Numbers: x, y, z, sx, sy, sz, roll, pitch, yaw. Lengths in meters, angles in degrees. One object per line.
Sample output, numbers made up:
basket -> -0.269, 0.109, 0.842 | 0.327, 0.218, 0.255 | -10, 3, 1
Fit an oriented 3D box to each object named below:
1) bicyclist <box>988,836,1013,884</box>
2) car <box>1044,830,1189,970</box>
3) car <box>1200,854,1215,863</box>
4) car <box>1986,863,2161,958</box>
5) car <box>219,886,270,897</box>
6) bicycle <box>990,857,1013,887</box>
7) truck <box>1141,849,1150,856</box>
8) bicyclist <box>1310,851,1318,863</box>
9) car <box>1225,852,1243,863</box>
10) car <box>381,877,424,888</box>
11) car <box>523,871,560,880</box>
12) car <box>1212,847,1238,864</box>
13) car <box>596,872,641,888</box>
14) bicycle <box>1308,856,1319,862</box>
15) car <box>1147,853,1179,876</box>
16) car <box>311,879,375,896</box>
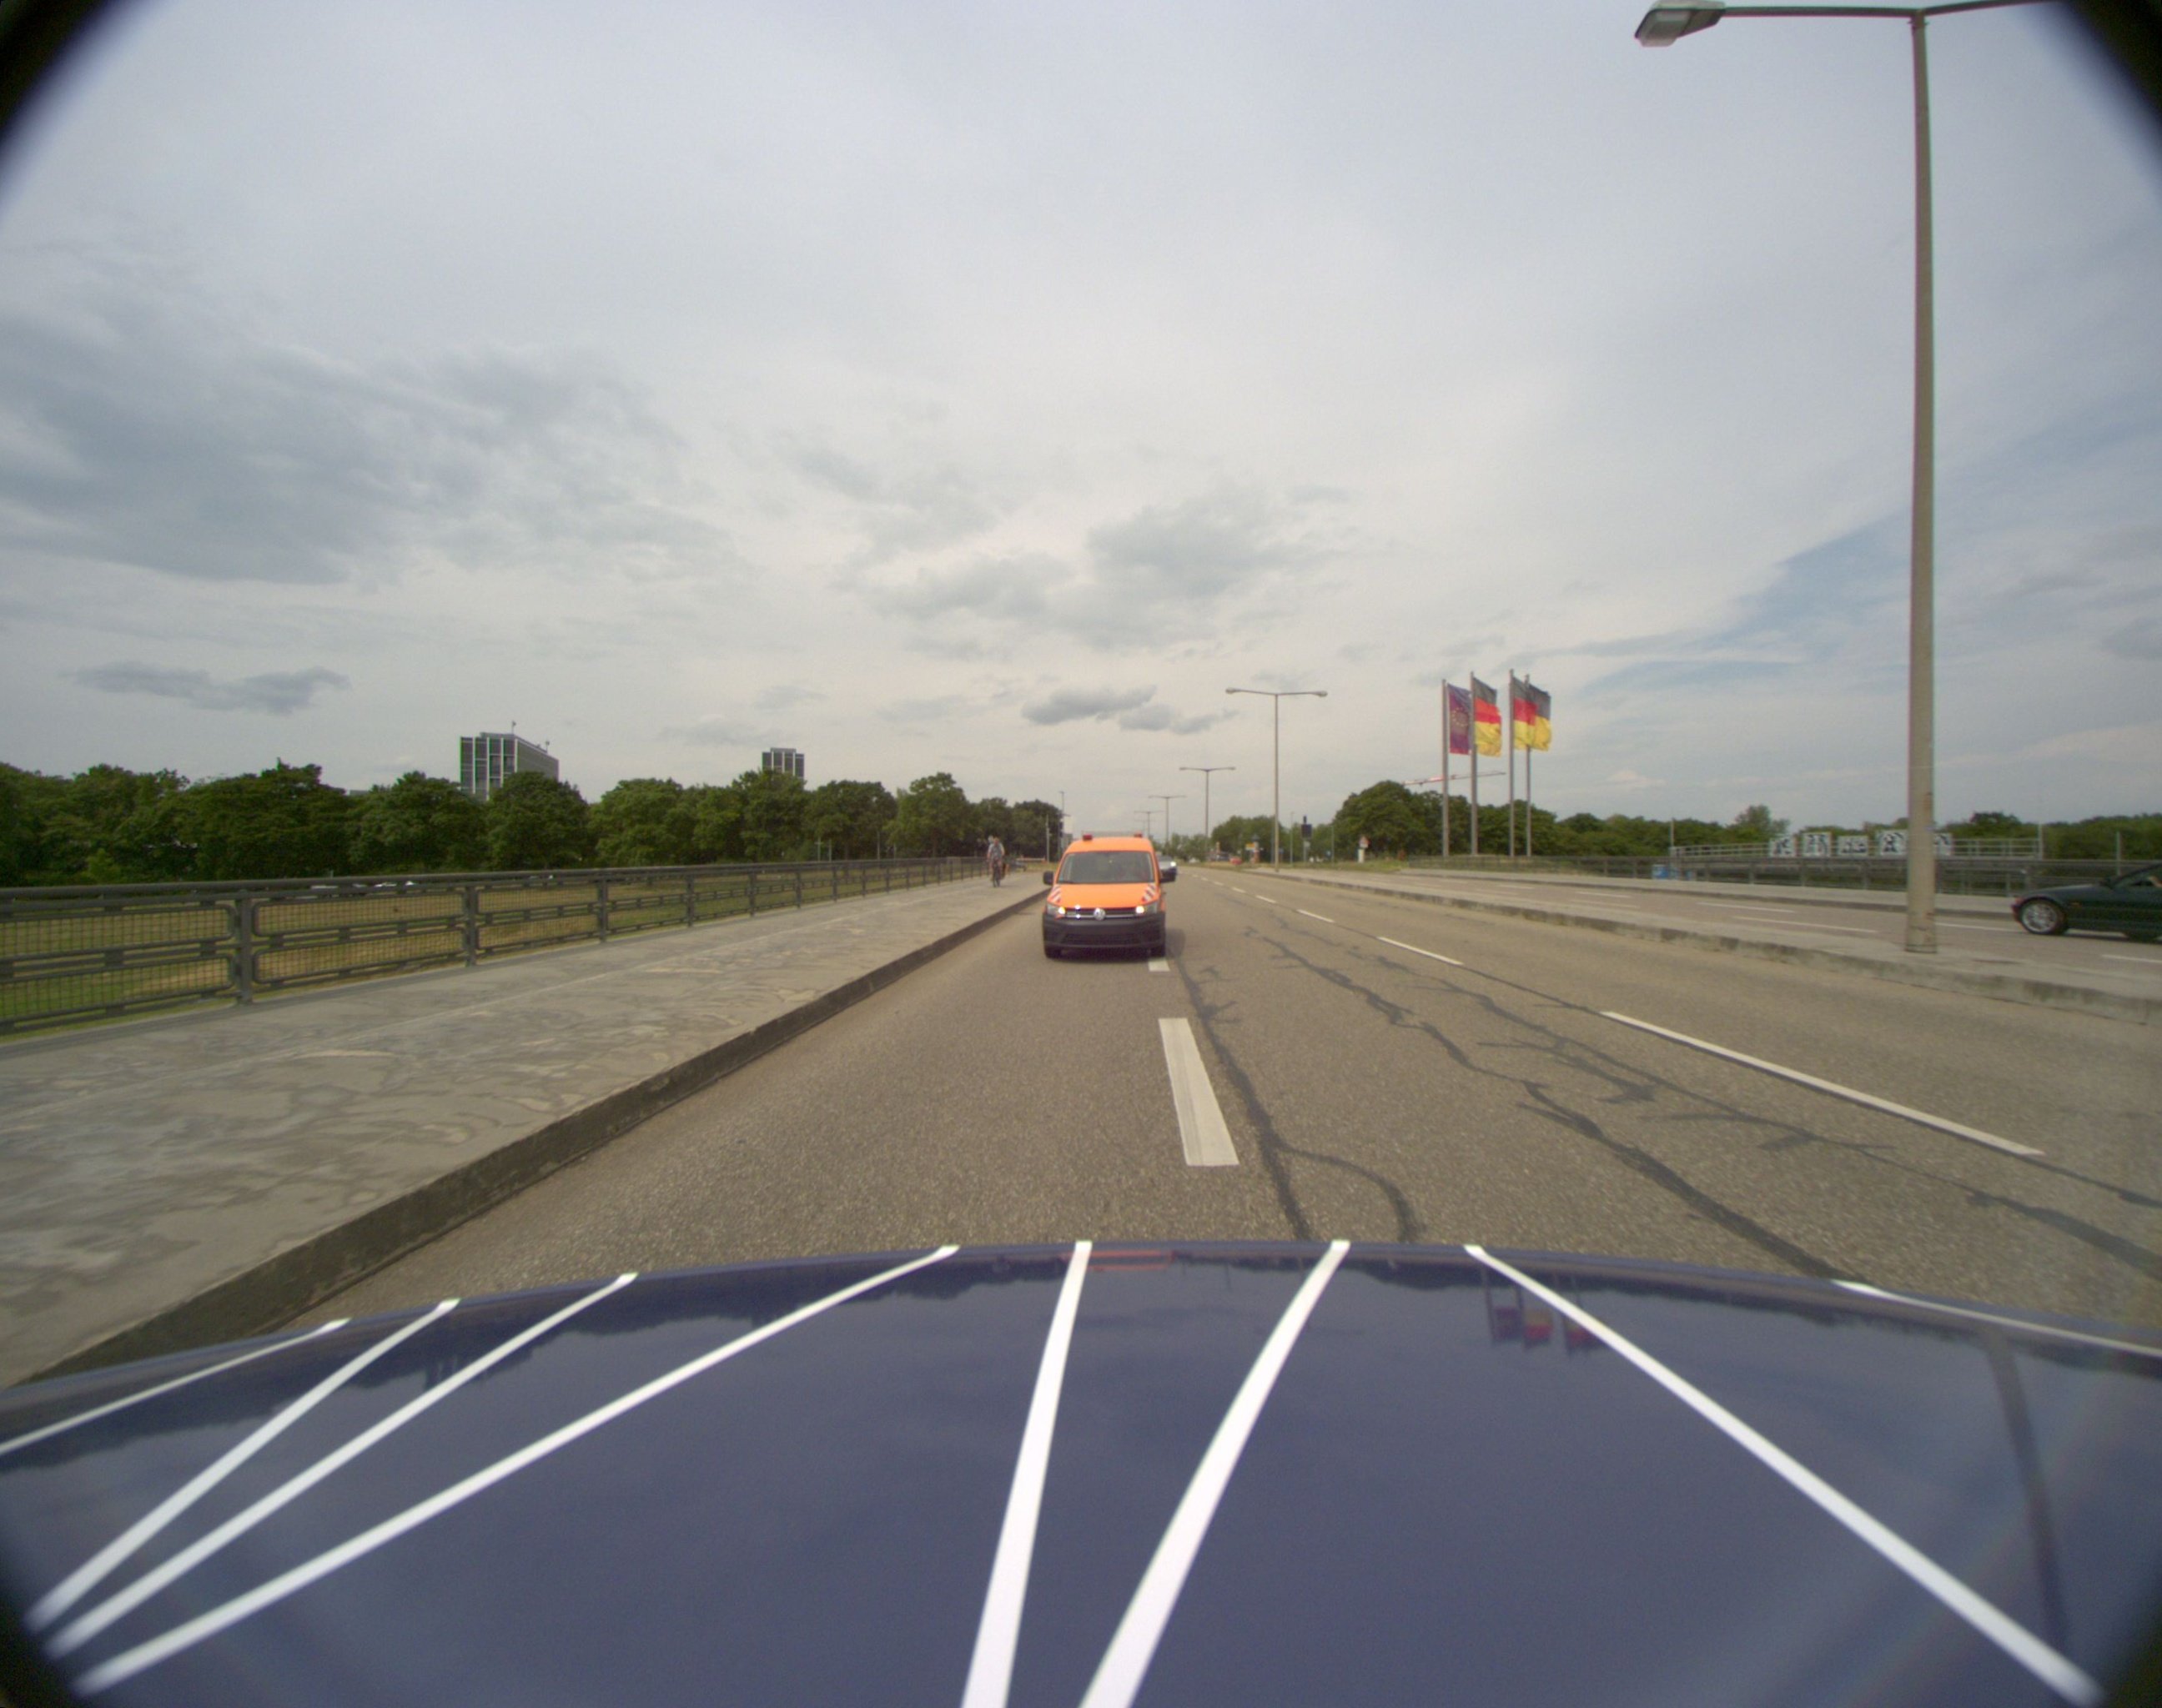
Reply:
bicyclist -> -3.108, 0.221, 29.361 | 0.873, 1.791, 0.956 | 1, 1, -4
car -> 0.533, 0.630, 12.360 | 1.892, 1.824, 4.431 | -1, 0, 2
car -> 20.385, 0.763, 122.644 | 1.695, 1.485, 4.000 | 1, 0, 1
car -> 17.302, 0.896, 11.504 | 1.997, 1.366, 4.578 | 1, 1, 7
car -> -98.942, 4.433, 89.897 | 3.687, 1.124, 1.676 | -1, 0, -22
bicycle -> -3.066, 0.688, 29.495 | 0.815, 1.134, 1.763 | -1, 0, -4
truck -> 16.932, -0.389, 200.420 | 1.998, 2.002, 4.001 | -1, 0, 1
bicyclist -> 30.459, 0.345, 99.365 | 0.820, 1.583, 0.737 | -1, 0, 3
car -> 21.025, 0.449, 104.556 | 1.695, 1.485, 4.000 | 1, 0, 1
car -> -85.606, 3.561, 95.957 | 3.687, 1.265, 1.676 | -1, 0, -22
car -> -71.870, 2.890, 101.289 | 3.687, 1.124, 1.676 | -1, 0, -22
car -> 16.226, 0.176, 85.840 | 1.998, 1.630, 4.662 | -5, 0, 2
car -> -58.122, 3.264, 95.555 | 4.471, 2.002, 1.999 | -1, 0, -6
bicycle -> 30.451, 0.646, 99.419 | 0.820, 0.729, 2.222 | -1, 0, 3
car -> 5.347, 0.674, 49.991 | 1.695, 1.403, 3.684 | -1, 0, 0
car -> -85.083, 3.794, 87.687 | 4.909, 1.792, 1.996 | 0, 0, -26
